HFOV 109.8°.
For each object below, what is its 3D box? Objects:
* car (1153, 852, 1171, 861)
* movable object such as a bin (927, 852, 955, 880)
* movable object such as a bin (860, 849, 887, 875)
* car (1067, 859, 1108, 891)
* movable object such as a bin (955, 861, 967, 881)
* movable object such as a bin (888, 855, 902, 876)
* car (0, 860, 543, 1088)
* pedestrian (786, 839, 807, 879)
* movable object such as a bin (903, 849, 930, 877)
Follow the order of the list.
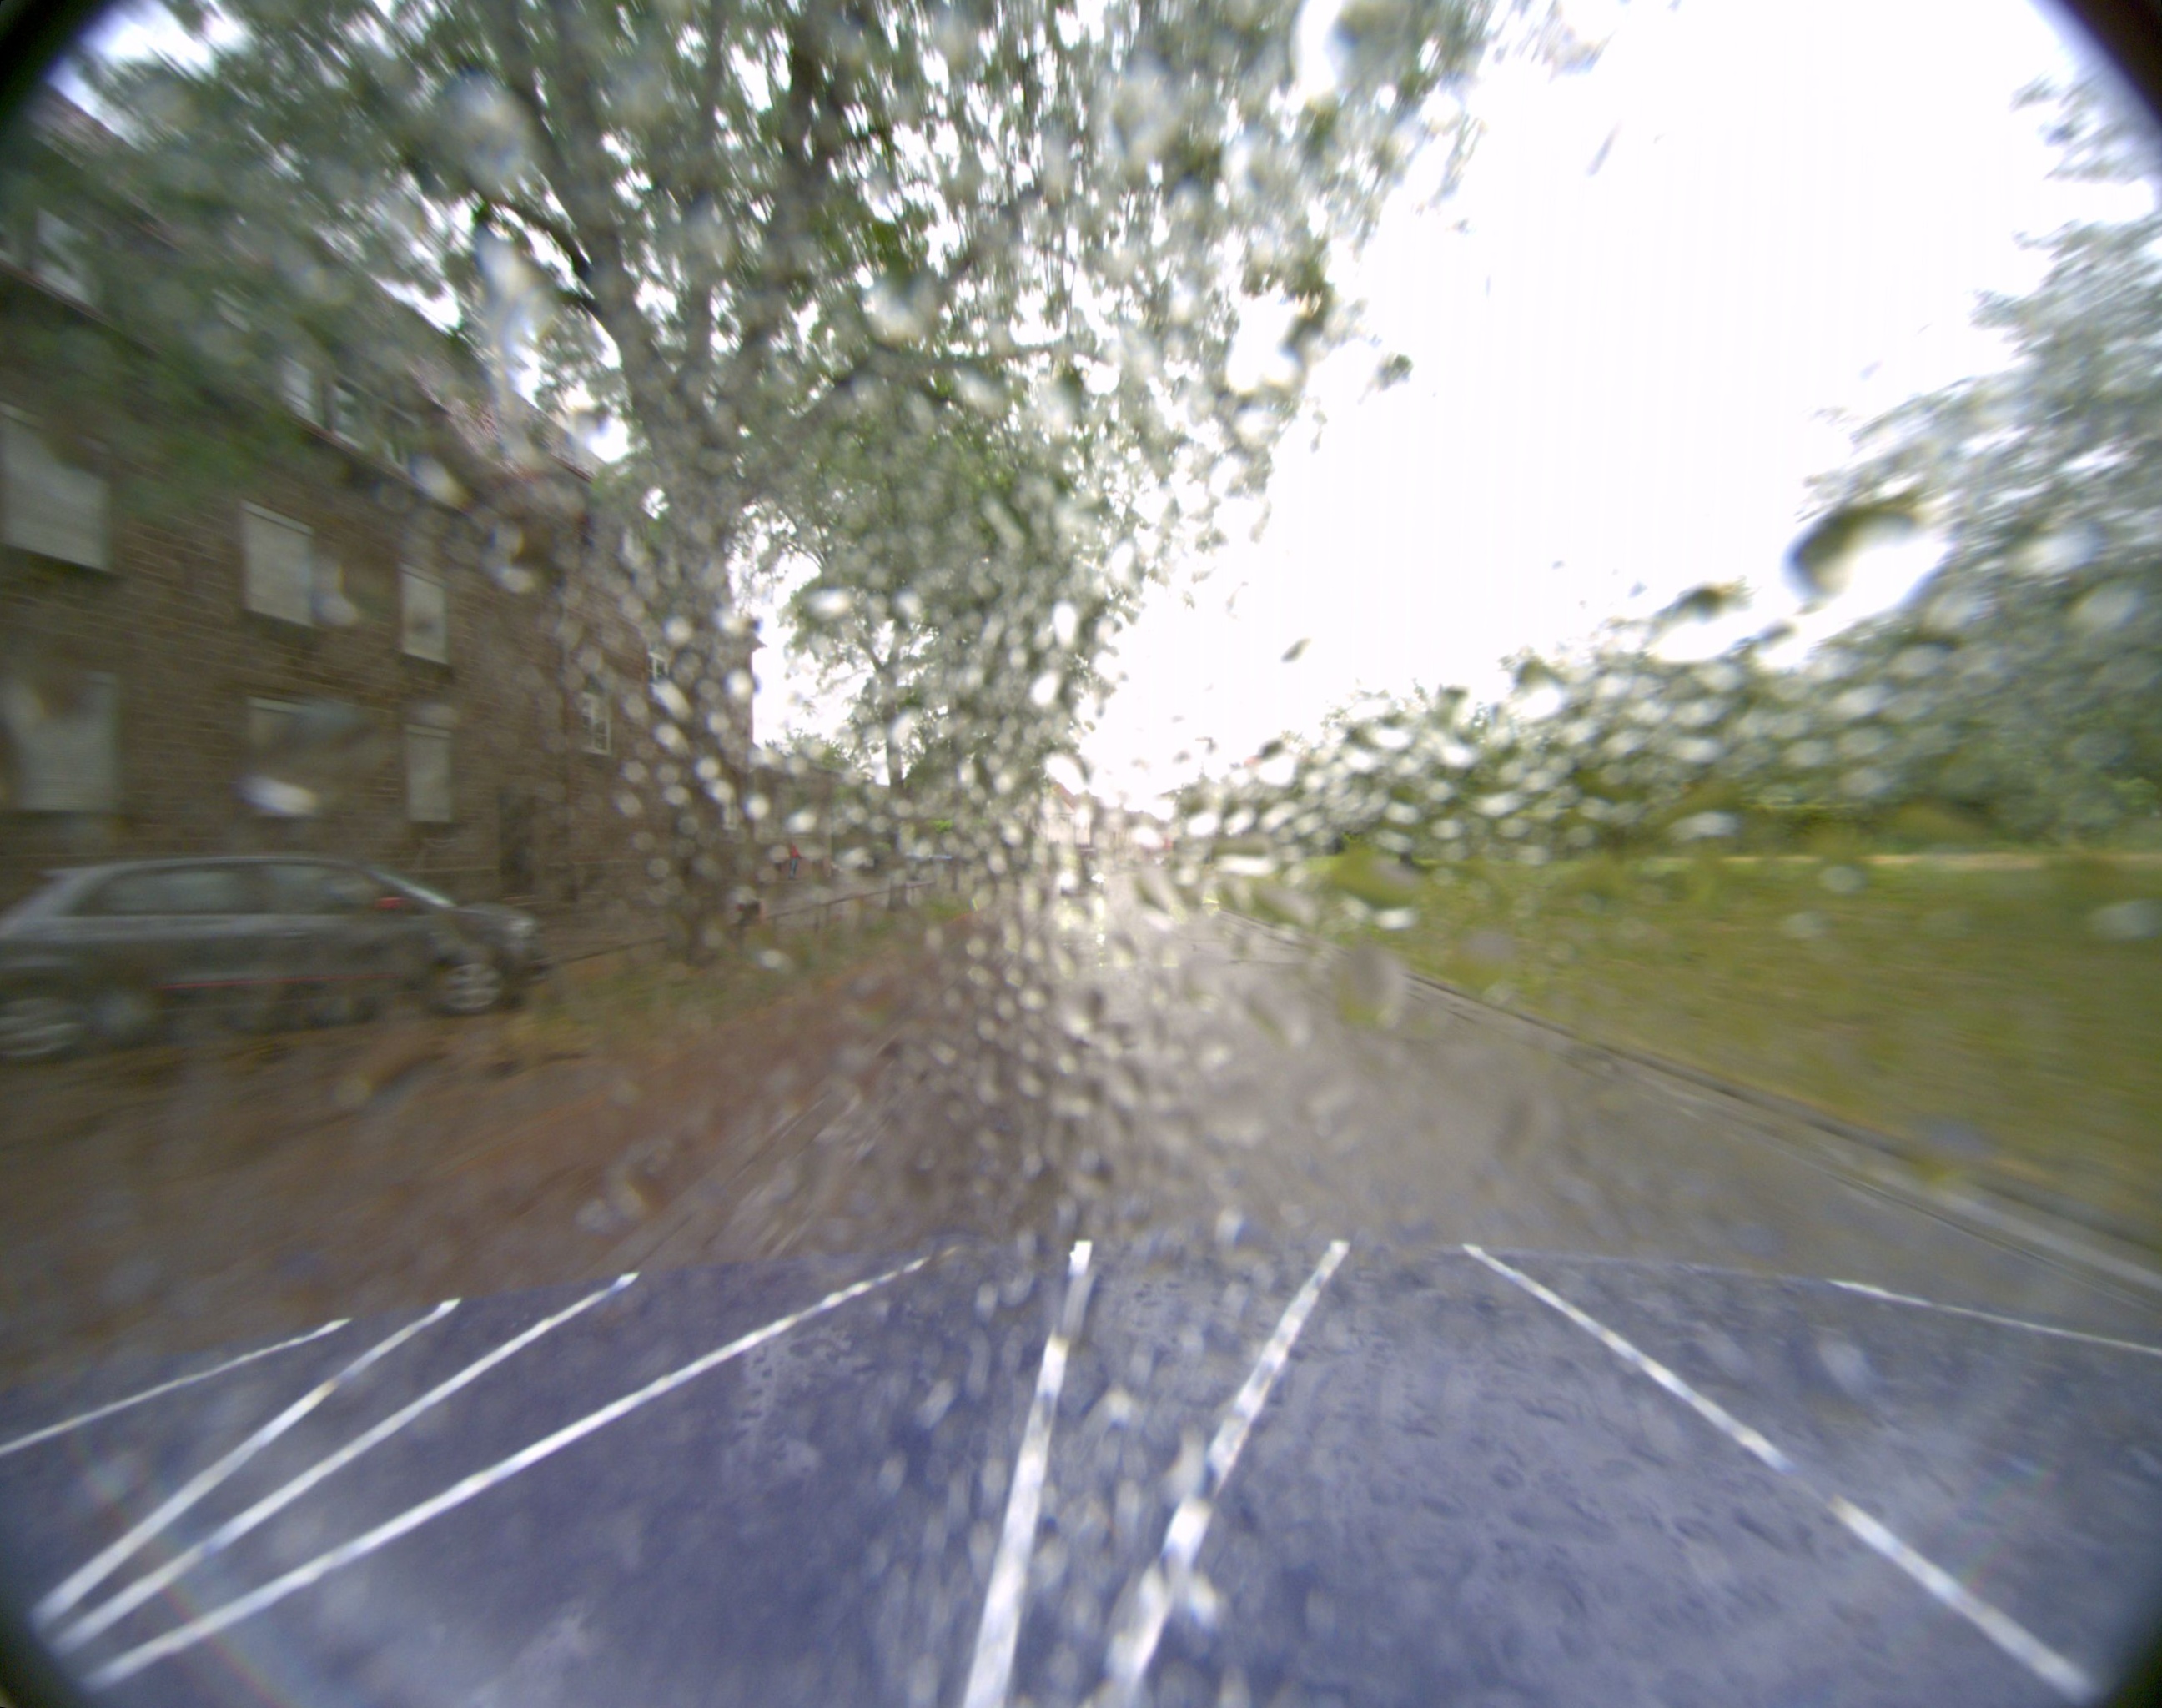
[{"bbox_3d":[14.150,0.433,132.829,1.892,1.566,3.887,-3,0,-13],"label":"car"},{"bbox_3d":[-7.559,0.654,40.929,1.296,1.410,0.795,3,1,-1],"label":"movable object such as a bin"},{"bbox_3d":[-11.164,0.433,40.926,1.151,1.335,0.795,4,1,-1],"label":"movable object such as a bin"},{"bbox_3d":[0.258,0.907,33.979,1.667,1.290,3.518,-2,-1,-2],"label":"car"},{"bbox_3d":[-6.469,0.925,40.962,0.538,1.017,0.462,3,1,-1],"label":"movable object such as a bin"},{"bbox_3d":[-10.037,0.616,41.050,0.568,1.073,0.530,3,1,-1],"label":"movable object such as a bin"},{"bbox_3d":[-7.122,0.868,6.843,3.620,1.542,1.617,-1,1,-38],"label":"car"},{"bbox_3d":[-12.457,0.218,33.262,0.536,1.744,0.867,1,0,0],"label":"pedestrian"},{"bbox_3d":[-8.876,0.488,41.086,1.238,1.428,0.795,4,1,-1],"label":"movable object such as a bin"}]
